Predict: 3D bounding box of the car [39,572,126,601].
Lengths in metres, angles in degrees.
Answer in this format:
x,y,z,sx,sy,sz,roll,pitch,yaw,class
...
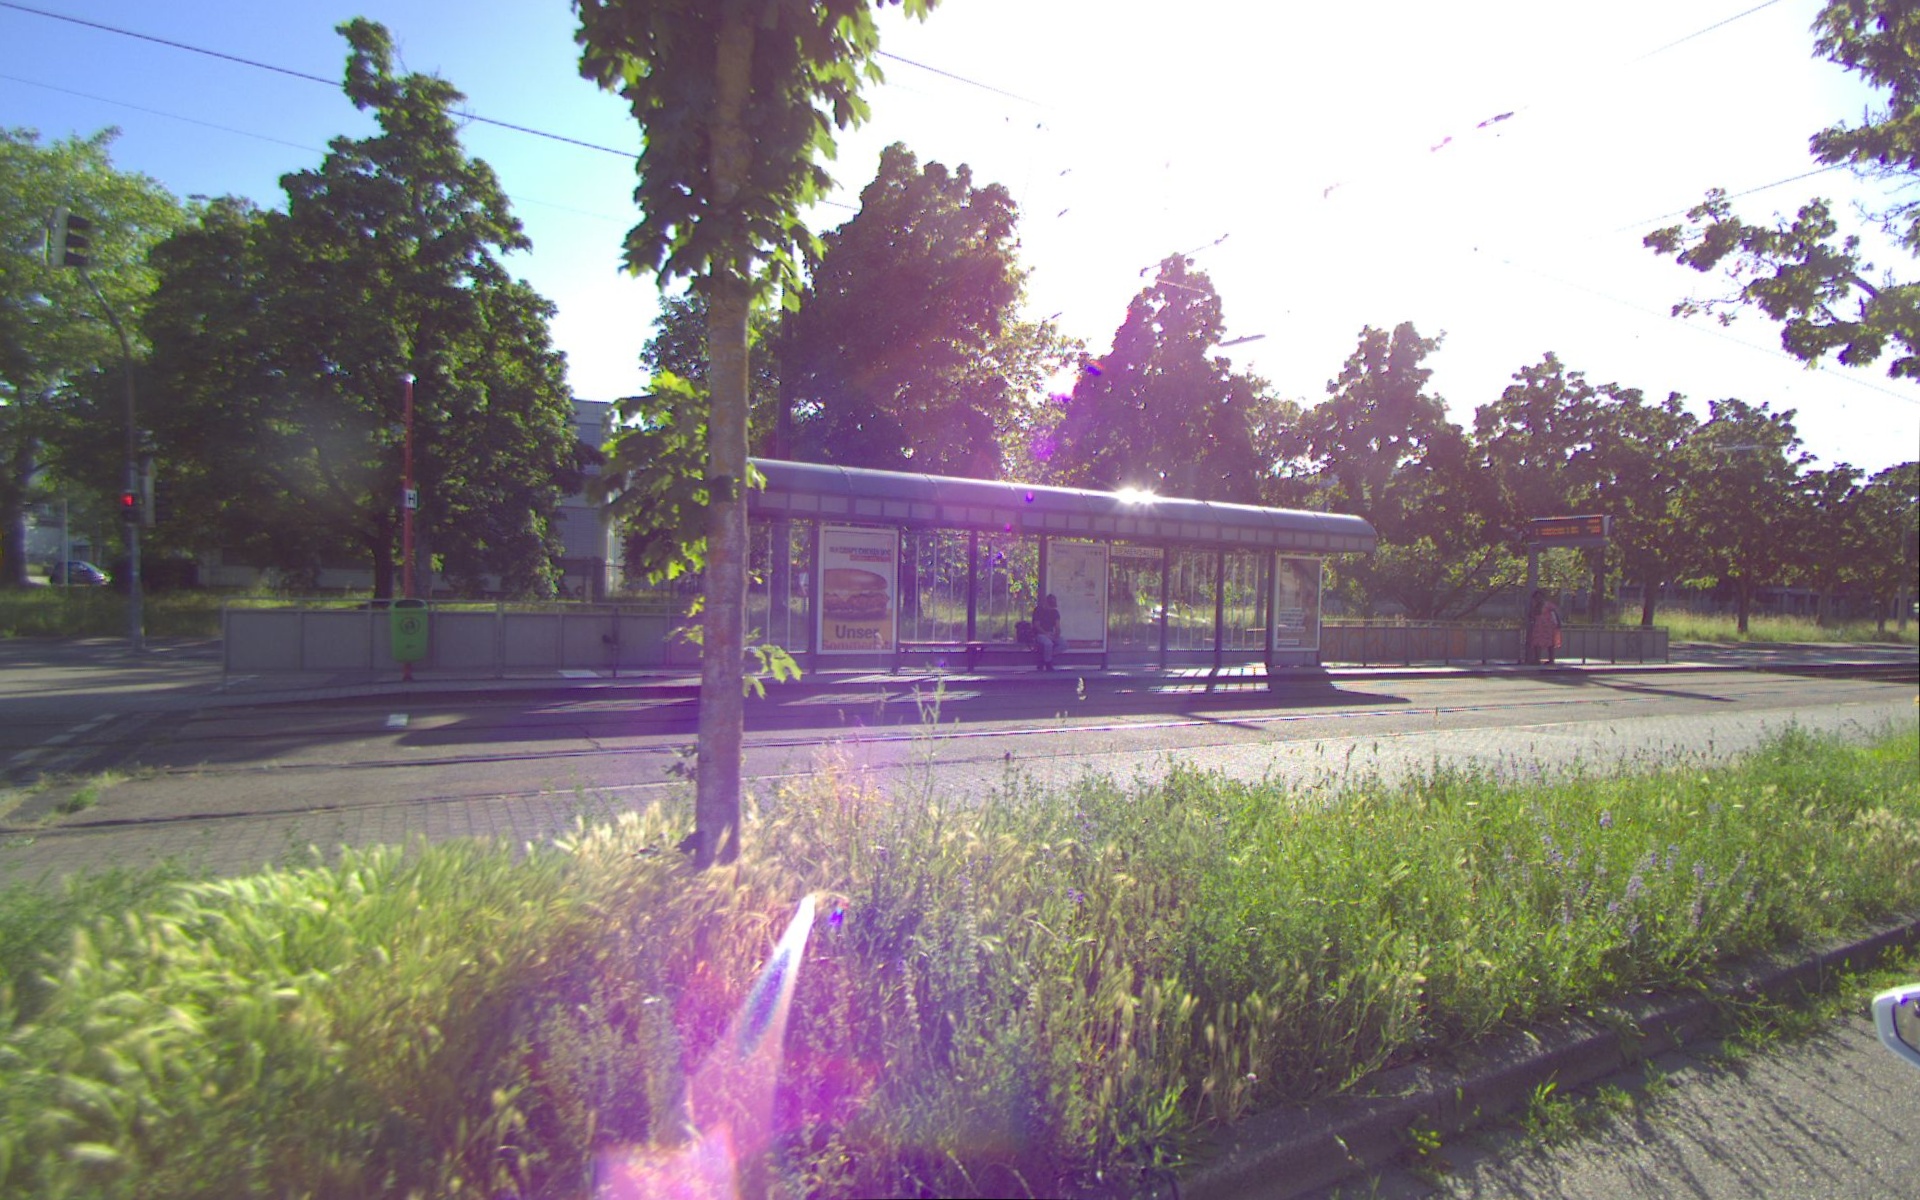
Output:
x,y,z,sx,sy,sz,roll,pitch,yaw,class
-53.676,-0.842,61.531,3.565,1.611,1.792,2,1,-21,car

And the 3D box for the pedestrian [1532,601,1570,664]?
x,y,z,sx,sy,sz,roll,pitch,yaw,class
13.920,0.763,23.668,0.552,1.467,0.542,2,0,-29,pedestrian

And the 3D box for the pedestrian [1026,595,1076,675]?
x,y,z,sx,sy,sz,roll,pitch,yaw,class
1.482,0.578,16.415,0.574,1.273,0.561,2,-1,-29,pedestrian
